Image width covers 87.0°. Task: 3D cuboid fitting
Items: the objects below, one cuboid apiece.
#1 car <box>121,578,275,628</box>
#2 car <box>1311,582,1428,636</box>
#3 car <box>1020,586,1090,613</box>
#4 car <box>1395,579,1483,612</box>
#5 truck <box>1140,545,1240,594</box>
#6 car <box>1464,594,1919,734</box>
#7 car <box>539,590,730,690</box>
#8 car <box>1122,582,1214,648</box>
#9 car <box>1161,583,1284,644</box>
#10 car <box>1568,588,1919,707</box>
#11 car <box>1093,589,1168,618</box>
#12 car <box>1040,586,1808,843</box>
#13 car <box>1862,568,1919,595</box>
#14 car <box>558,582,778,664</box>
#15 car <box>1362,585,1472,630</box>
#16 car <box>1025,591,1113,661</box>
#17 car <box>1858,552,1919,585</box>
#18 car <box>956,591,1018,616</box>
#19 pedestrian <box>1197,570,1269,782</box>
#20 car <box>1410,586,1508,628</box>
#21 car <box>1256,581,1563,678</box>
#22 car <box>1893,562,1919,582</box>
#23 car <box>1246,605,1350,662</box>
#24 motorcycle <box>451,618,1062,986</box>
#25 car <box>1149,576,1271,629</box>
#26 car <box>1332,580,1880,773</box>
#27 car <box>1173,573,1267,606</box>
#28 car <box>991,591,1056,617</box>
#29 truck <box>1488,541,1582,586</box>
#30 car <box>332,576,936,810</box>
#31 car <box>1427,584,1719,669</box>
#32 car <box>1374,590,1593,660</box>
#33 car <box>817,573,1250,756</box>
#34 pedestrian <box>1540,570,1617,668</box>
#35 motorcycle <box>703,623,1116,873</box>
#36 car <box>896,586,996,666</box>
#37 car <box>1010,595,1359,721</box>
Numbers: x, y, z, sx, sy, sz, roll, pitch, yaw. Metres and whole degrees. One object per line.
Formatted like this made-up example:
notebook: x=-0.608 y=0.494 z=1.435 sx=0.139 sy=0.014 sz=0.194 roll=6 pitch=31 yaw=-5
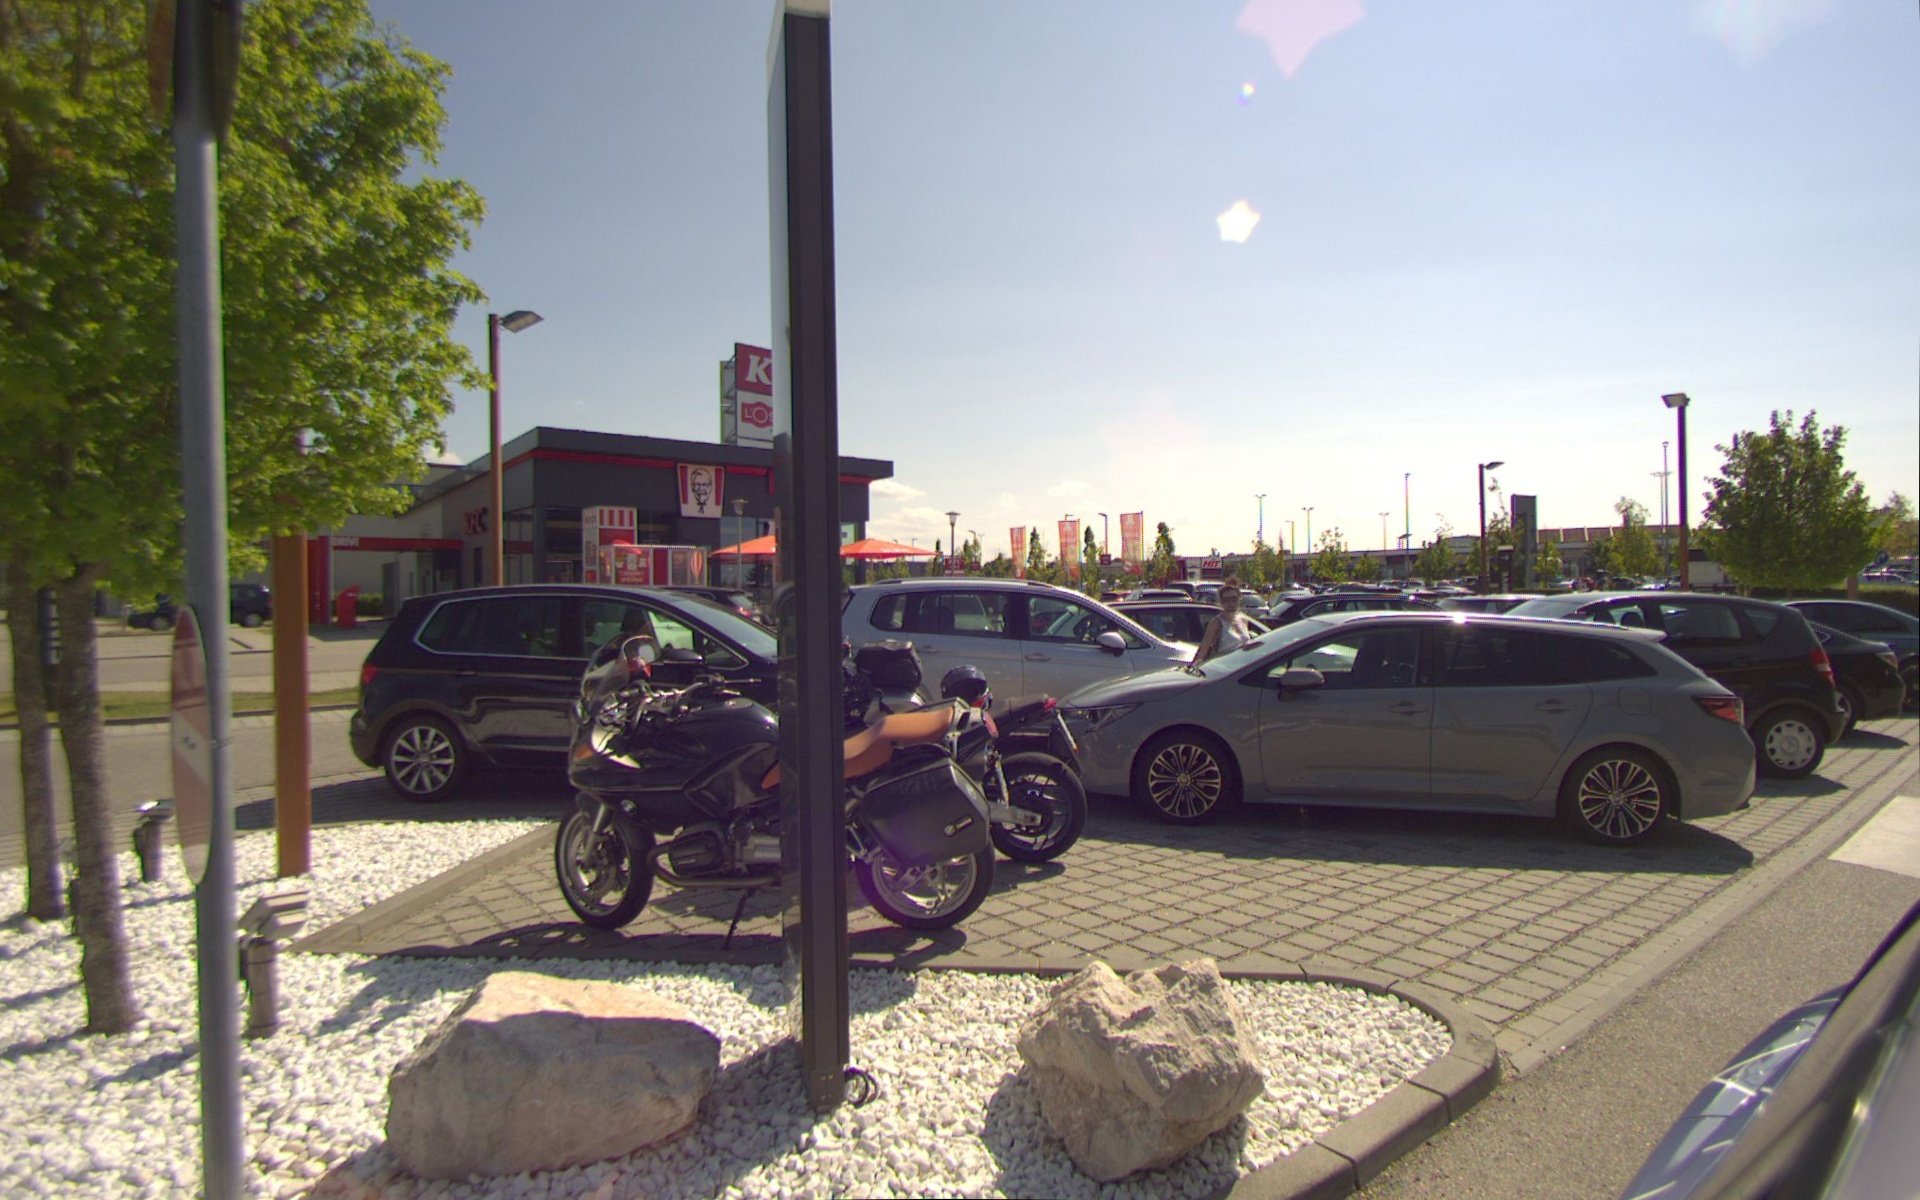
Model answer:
car: x=-27.462 y=0.071 z=36.558 sx=4.309 sy=1.706 sz=1.638 roll=-1 pitch=1 yaw=-42
car: x=13.013 y=0.244 z=32.416 sx=1.770 sy=1.576 sz=4.059 roll=-1 pitch=1 yaw=-5
car: x=5.430 y=-0.064 z=57.722 sx=3.682 sy=1.472 sz=1.688 roll=-1 pitch=1 yaw=-33
car: x=31.346 y=-0.307 z=66.415 sx=1.960 sy=2.039 sz=5.028 roll=-1 pitch=1 yaw=-29
truck: x=19.649 y=-2.548 z=87.105 sx=3.145 sy=3.915 sz=9.142 roll=-1 pitch=1 yaw=-28
car: x=8.396 y=0.692 z=11.886 sx=4.005 sy=1.467 sz=1.826 roll=0 pitch=1 yaw=7
car: x=-5.267 y=0.567 z=16.982 sx=1.809 sy=1.443 sz=4.185 roll=-1 pitch=1 yaw=1
car: x=5.055 y=0.315 z=25.072 sx=1.789 sy=1.508 sz=3.994 roll=0 pitch=1 yaw=5
car: x=7.164 y=0.317 z=28.113 sx=1.742 sy=1.530 sz=4.359 roll=-1 pitch=1 yaw=-8
car: x=11.381 y=0.624 z=14.209 sx=4.463 sy=1.530 sz=1.884 roll=0 pitch=1 yaw=6
car: x=8.967 y=0.153 z=53.142 sx=3.682 sy=1.472 sz=1.688 roll=-1 pitch=1 yaw=-33
car: x=2.909 y=0.676 z=7.278 sx=4.583 sy=1.465 sz=1.832 roll=1 pitch=0 yaw=7
car: x=62.020 y=-1.228 z=66.469 sx=1.863 sy=1.749 sz=3.990 roll=-1 pitch=1 yaw=-44
car: x=-5.990 y=0.456 z=20.996 sx=4.016 sy=1.596 sz=1.754 roll=-1 pitch=0 yaw=7
car: x=15.606 y=0.203 z=34.808 sx=1.762 sy=1.440 sz=4.089 roll=-1 pitch=1 yaw=-2
car: x=2.495 y=0.516 z=22.984 sx=1.790 sy=1.420 sz=3.992 roll=0 pitch=1 yaw=7
car: x=68.151 y=-2.216 z=71.705 sx=2.260 sy=2.272 sz=6.562 roll=-1 pitch=1 yaw=-40
car: x=1.761 y=0.212 z=65.900 sx=3.682 sy=1.530 sz=1.688 roll=-1 pitch=1 yaw=-33
pedestrian: x=2.322 y=0.620 z=8.662 sx=0.555 sy=1.734 sz=0.608 roll=0 pitch=0 yaw=13
car: x=18.384 y=0.223 z=37.479 sx=1.878 sy=1.440 sz=3.773 roll=-1 pitch=1 yaw=3
car: x=7.482 y=0.472 z=17.252 sx=4.340 sy=1.530 sz=1.981 roll=0 pitch=1 yaw=6
car: x=66.484 y=-1.935 z=69.104 sx=1.636 sy=1.359 sz=3.902 roll=-1 pitch=1 yaw=-40
car: x=9.867 y=0.928 z=29.928 sx=1.681 sy=1.428 sz=4.679 roll=-1 pitch=1 yaw=3
motorcycle: x=-0.735 y=0.732 z=4.209 sx=2.210 sy=1.267 sz=1.070 roll=1 pitch=-1 yaw=2
car: x=8.900 y=0.047 z=35.870 sx=4.289 sy=1.772 sz=2.070 roll=-1 pitch=1 yaw=-39
car: x=5.793 y=0.639 z=9.559 sx=3.931 sy=1.613 sz=1.809 roll=0 pitch=0 yaw=7
car: x=11.841 y=-0.481 z=46.071 sx=4.074 sy=1.415 sz=1.889 roll=-1 pitch=1 yaw=-33
car: x=3.903 y=0.220 z=61.855 sx=3.682 sy=1.472 sz=1.688 roll=-1 pitch=1 yaw=-33
truck: x=45.083 y=-2.830 z=79.699 sx=2.373 sy=3.393 sz=7.577 roll=-1 pitch=1 yaw=-7
car: x=-2.348 y=0.603 z=7.934 sx=4.118 sy=1.556 sz=1.893 roll=0 pitch=0 yaw=6
car: x=11.634 y=0.483 z=19.493 sx=4.340 sy=1.530 sz=1.981 roll=0 pitch=1 yaw=6
car: x=11.251 y=0.512 z=21.988 sx=3.837 sy=1.444 sz=1.703 roll=0 pitch=1 yaw=8
car: x=0.706 y=0.571 z=10.219 sx=3.995 sy=1.660 sz=1.746 roll=0 pitch=0 yaw=5
pedestrian: x=12.591 y=0.364 z=20.614 sx=0.884 sy=1.940 sz=1.030 roll=-1 pitch=0 yaw=-28
motorcycle: x=-0.270 y=0.771 z=5.584 sx=2.100 sy=1.247 sz=0.821 roll=0 pitch=0 yaw=-2
car: x=-0.276 y=0.461 z=21.445 sx=1.878 sy=1.490 sz=4.472 roll=-1 pitch=1 yaw=0
car: x=2.650 y=0.662 z=12.705 sx=4.009 sy=1.426 sz=1.791 roll=0 pitch=1 yaw=5
